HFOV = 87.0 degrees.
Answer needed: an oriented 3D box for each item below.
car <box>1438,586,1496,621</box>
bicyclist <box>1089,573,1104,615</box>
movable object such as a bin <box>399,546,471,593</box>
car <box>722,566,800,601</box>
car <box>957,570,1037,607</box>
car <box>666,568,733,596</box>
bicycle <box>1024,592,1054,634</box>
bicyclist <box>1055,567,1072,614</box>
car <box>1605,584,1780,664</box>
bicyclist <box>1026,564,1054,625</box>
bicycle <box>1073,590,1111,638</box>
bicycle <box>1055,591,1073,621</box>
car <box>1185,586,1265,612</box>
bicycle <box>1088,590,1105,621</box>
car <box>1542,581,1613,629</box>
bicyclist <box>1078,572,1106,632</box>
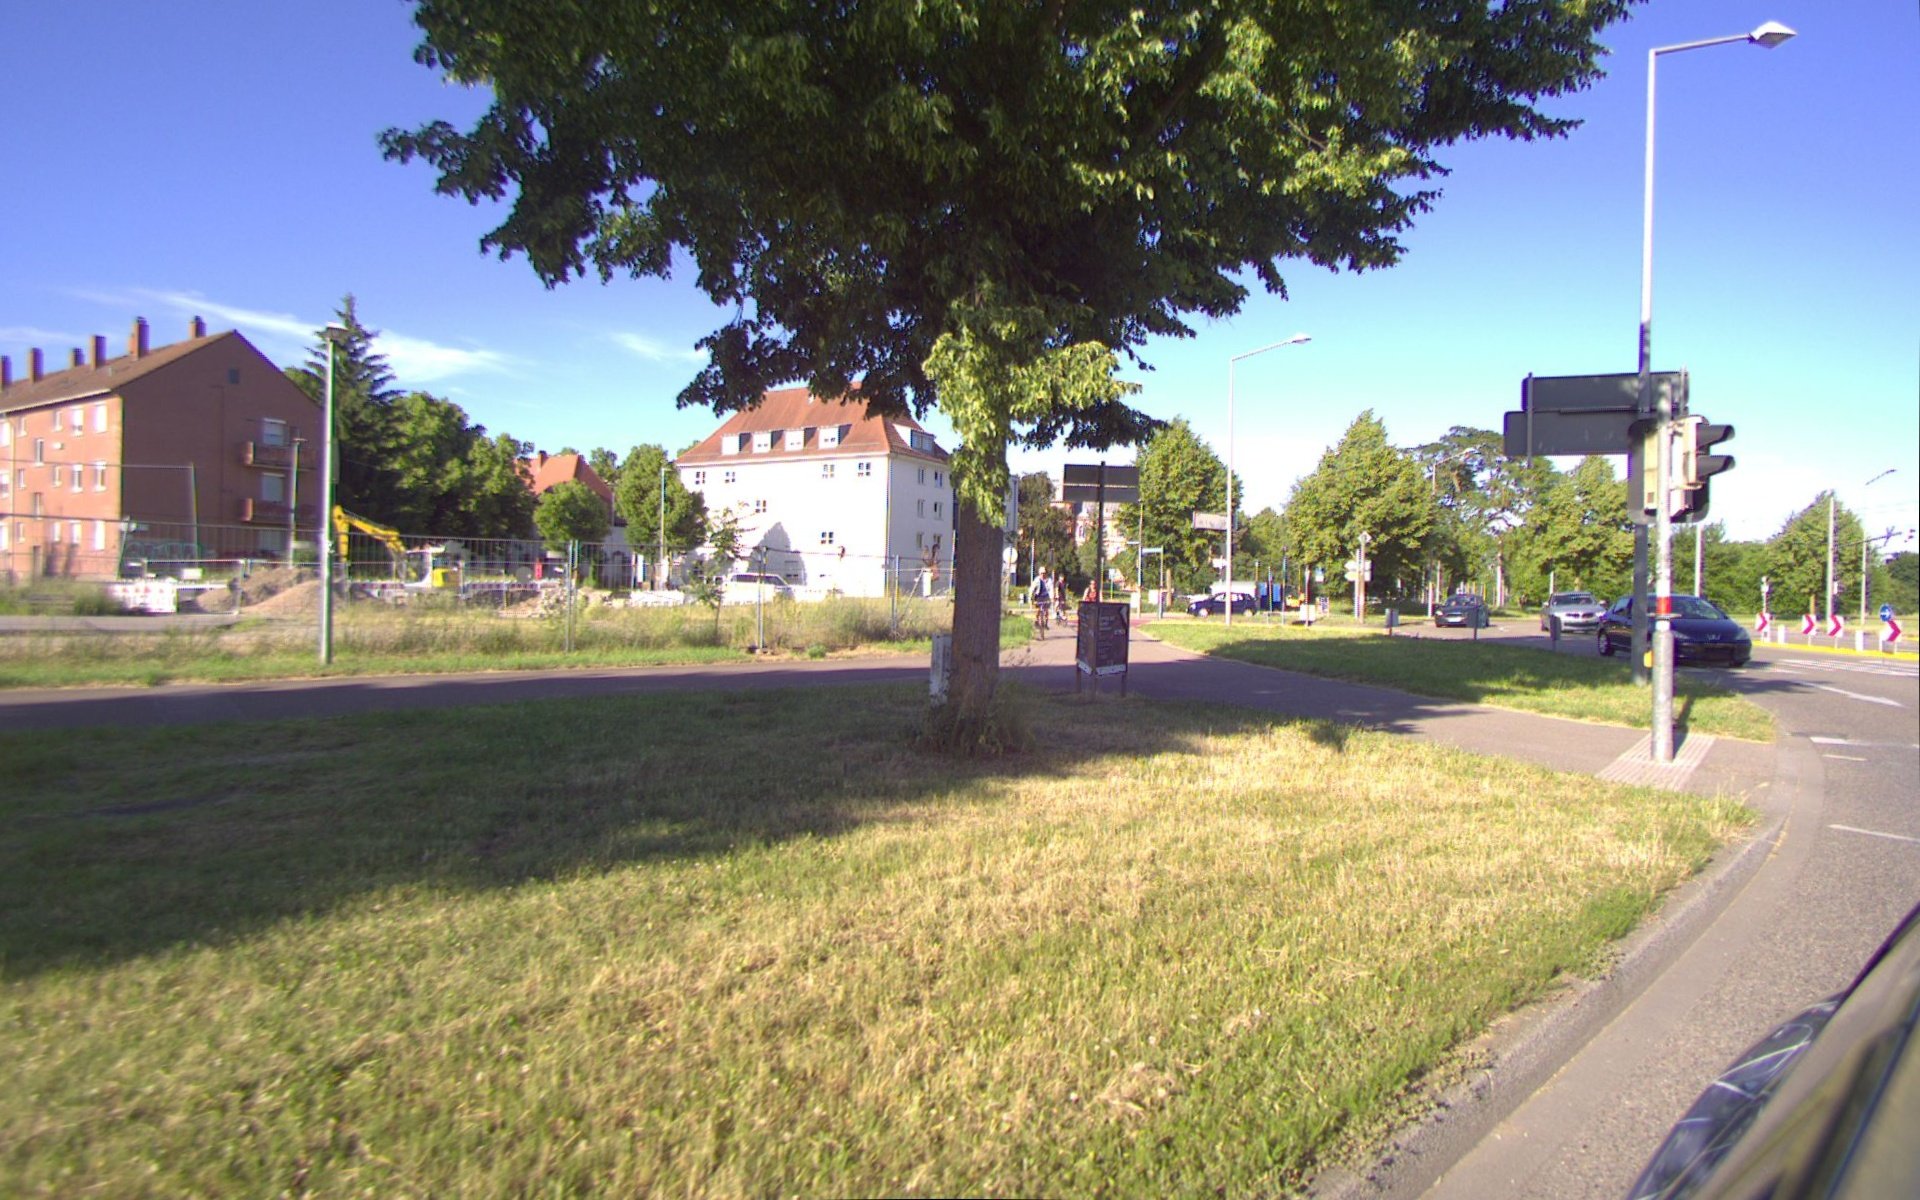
[{"bbox_3d":[22.288,0.105,44.418,1.837,1.446,3.902,1,1,33],"label":"car"},{"bbox_3d":[5.047,-0.234,37.341,0.465,1.504,0.912,0,1,14],"label":"bicyclist"},{"bbox_3d":[-23.325,-1.338,45.030,2.034,2.038,1.995,0,1,9],"label":"movable object such as a bin"},{"bbox_3d":[-12.018,-1.019,61.167,4.435,2.039,1.979,1,1,30],"label":"car"},{"bbox_3d":[1.889,-0.594,51.720,3.542,1.772,2.000,2,1,35],"label":"car"},{"bbox_3d":[-17.717,-1.231,68.939,4.220,1.807,1.879,2,1,26],"label":"car"},{"bbox_3d":[2.093,0.316,26.617,0.647,1.025,1.815,1,1,9],"label":"bicycle"},{"bbox_3d":[3.616,-0.335,35.439,0.582,1.606,0.965,0,1,4],"label":"bicyclist"},{"bbox_3d":[15.917,0.442,22.237,1.738,1.534,3.932,0,2,14],"label":"car"},{"bbox_3d":[2.106,-0.142,26.616,0.644,1.572,0.793,1,1,9],"label":"bicyclist"},{"bbox_3d":[3.377,0.350,25.794,0.502,1.166,1.592,2,1,23],"label":"bicycle"},{"bbox_3d":[3.625,0.195,35.492,0.582,0.972,1.898,0,1,4],"label":"bicycle"},{"bbox_3d":[14.500,-0.065,55.529,3.928,1.394,1.755,0,1,5],"label":"car"},{"bbox_3d":[5.055,0.194,37.379,0.472,1.095,1.637,0,1,14],"label":"bicycle"},{"bbox_3d":[22.580,0.143,37.125,1.832,1.588,4.486,2,1,27],"label":"car"},{"bbox_3d":[3.379,0.047,25.808,0.499,1.491,0.827,1,1,23],"label":"bicyclist"}]
